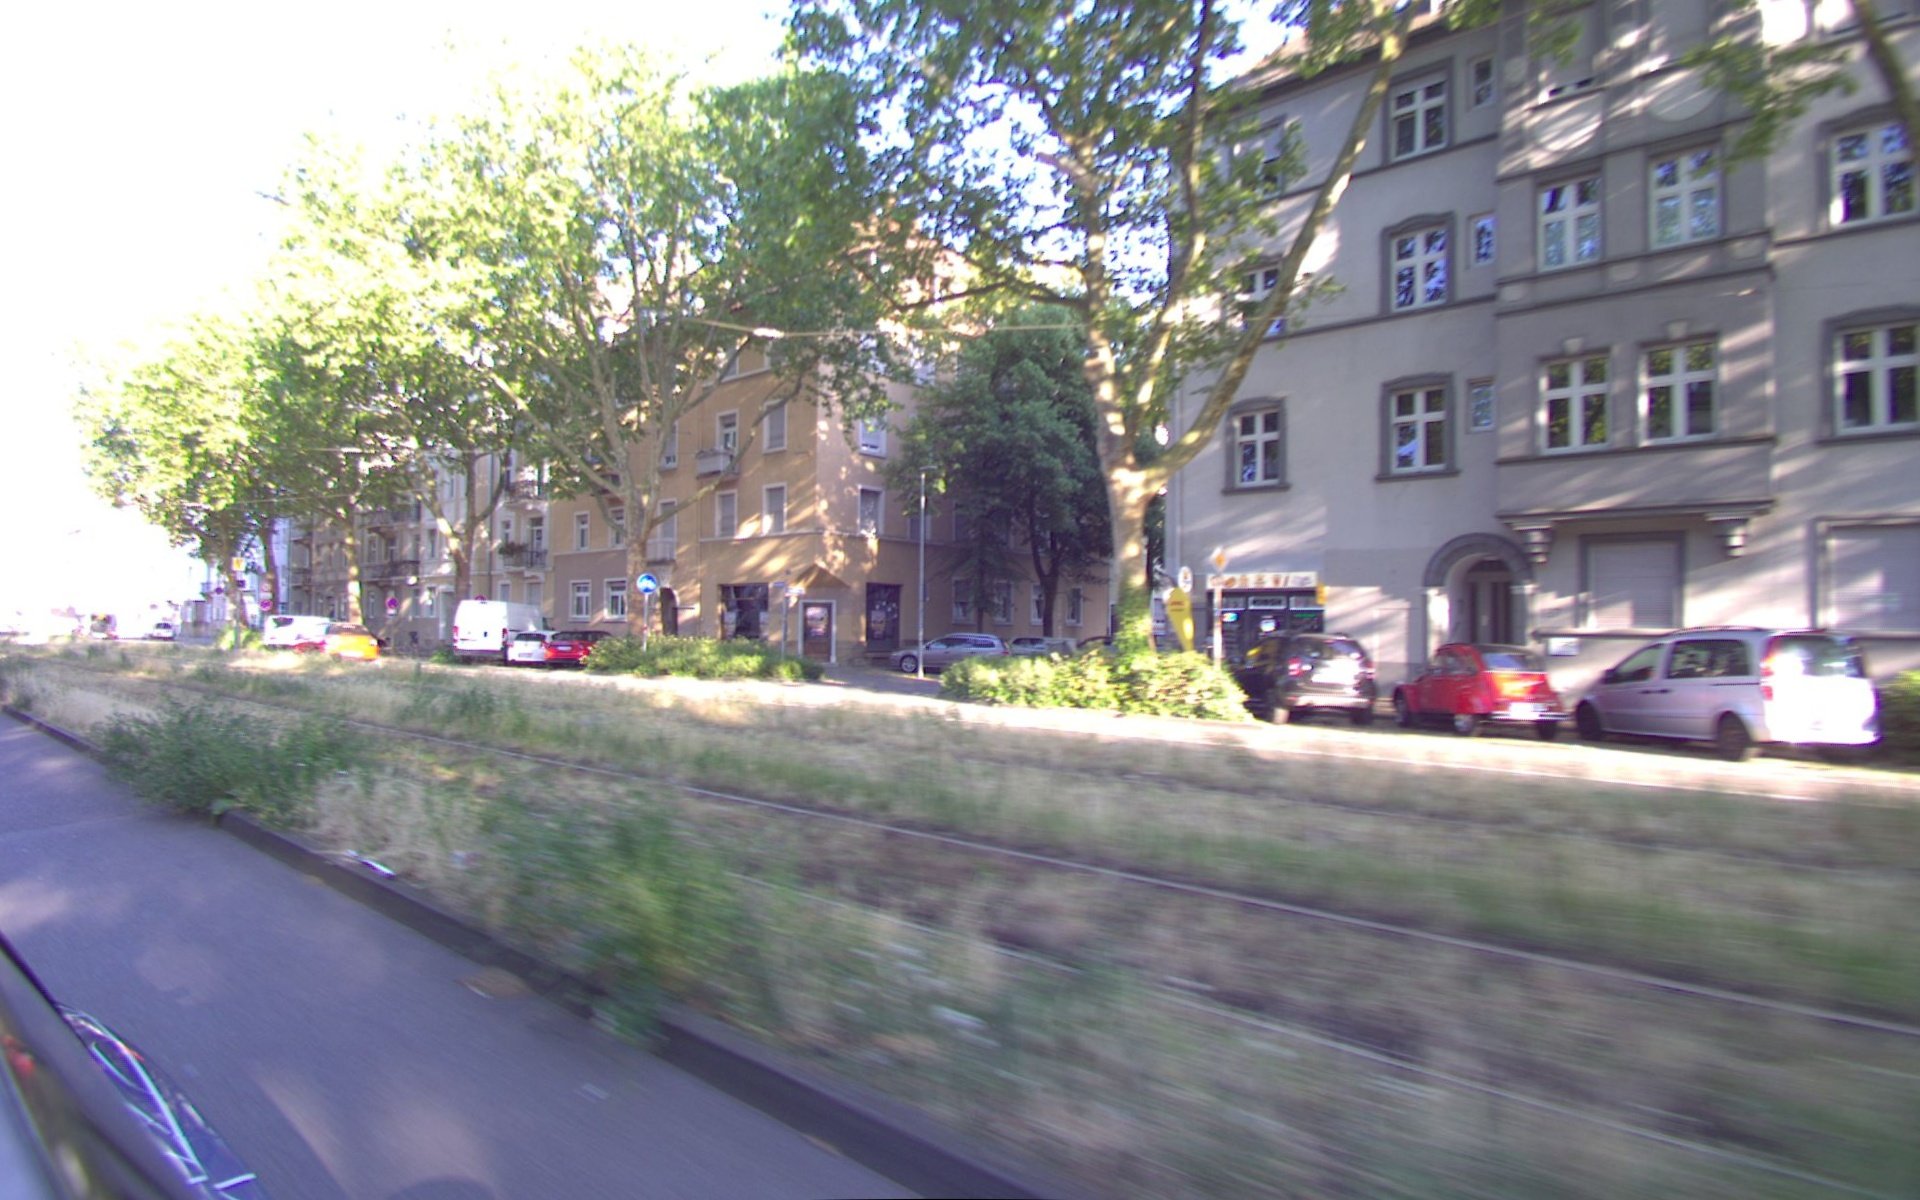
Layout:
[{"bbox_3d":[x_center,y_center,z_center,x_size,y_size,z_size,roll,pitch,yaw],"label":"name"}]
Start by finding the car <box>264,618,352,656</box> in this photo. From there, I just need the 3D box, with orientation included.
[{"bbox_3d":[-36.762,2.081,57.252,1.697,2.082,5.248,0,-2,-2],"label":"car"}]

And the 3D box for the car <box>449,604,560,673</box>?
[{"bbox_3d":[-18.132,1.530,40.627,2.095,2.548,5.510,0,-2,-2],"label":"car"}]

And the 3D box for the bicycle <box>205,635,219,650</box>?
[{"bbox_3d":[-58.066,3.256,78.549,0.747,1.040,1.899,-5,2,-35],"label":"bicycle"}]

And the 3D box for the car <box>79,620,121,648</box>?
[{"bbox_3d":[-54.275,2.125,63.827,1.846,1.706,4.782,2,-2,-42],"label":"car"}]

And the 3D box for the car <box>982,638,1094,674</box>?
[{"bbox_3d":[3.202,2.235,41.008,4.370,1.346,1.790,0,-2,11],"label":"car"}]

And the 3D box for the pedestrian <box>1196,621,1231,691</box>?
[{"bbox_3d":[6.549,1.443,26.141,0.620,1.773,0.673,3,-3,-44],"label":"pedestrian"}]

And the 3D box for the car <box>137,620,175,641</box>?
[{"bbox_3d":[-71.603,2.708,90.101,4.653,1.800,1.883,0,-2,43],"label":"car"}]

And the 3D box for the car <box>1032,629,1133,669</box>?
[{"bbox_3d":[5.456,2.157,45.034,4.205,1.723,1.747,0,-2,21],"label":"car"}]

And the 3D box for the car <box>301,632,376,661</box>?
[{"bbox_3d":[-32.311,2.394,52.714,1.697,1.433,3.729,0,-2,-2],"label":"car"}]

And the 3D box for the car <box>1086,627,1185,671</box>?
[{"bbox_3d":[8.125,2.228,46.781,4.377,1.946,1.787,0,-2,16],"label":"car"}]

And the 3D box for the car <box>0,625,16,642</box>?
[{"bbox_3d":[-85.882,2.970,90.351,4.696,1.497,1.698,-1,-5,41],"label":"car"}]

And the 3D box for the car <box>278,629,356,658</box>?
[{"bbox_3d":[-34.958,2.323,55.155,1.697,1.502,4.177,0,-2,-2],"label":"car"}]

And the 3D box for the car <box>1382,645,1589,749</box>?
[{"bbox_3d":[8.830,1.556,17.410,1.564,1.459,3.997,1,-1,2],"label":"car"}]

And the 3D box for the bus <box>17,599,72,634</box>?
[{"bbox_3d":[-93.934,1.678,103.770,9.898,3.400,3.230,0,-2,42],"label":"bus"}]

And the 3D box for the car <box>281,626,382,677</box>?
[{"bbox_3d":[-21.075,1.675,33.883,3.998,1.586,1.771,-1,-2,41],"label":"car"}]

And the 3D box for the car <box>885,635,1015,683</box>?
[{"bbox_3d":[-0.328,2.127,37.139,4.482,1.514,1.790,2,-2,11],"label":"car"}]

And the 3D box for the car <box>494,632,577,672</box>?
[{"bbox_3d":[-16.132,1.953,38.649,1.711,1.410,3.710,0,-2,-2],"label":"car"}]

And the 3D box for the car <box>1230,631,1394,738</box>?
[{"bbox_3d":[6.455,1.482,19.020,1.760,1.736,3.997,1,-1,2],"label":"car"}]

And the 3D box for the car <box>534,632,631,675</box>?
[{"bbox_3d":[-13.717,1.939,36.971,1.717,1.477,3.699,0,-3,9],"label":"car"}]

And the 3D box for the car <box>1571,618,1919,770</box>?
[{"bbox_3d":[11.260,1.241,14.812,1.970,1.896,4.004,1,-1,-5],"label":"car"}]

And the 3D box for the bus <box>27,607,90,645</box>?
[{"bbox_3d":[-85.872,2.423,96.299,11.975,3.400,3.219,0,-2,42],"label":"bus"}]
